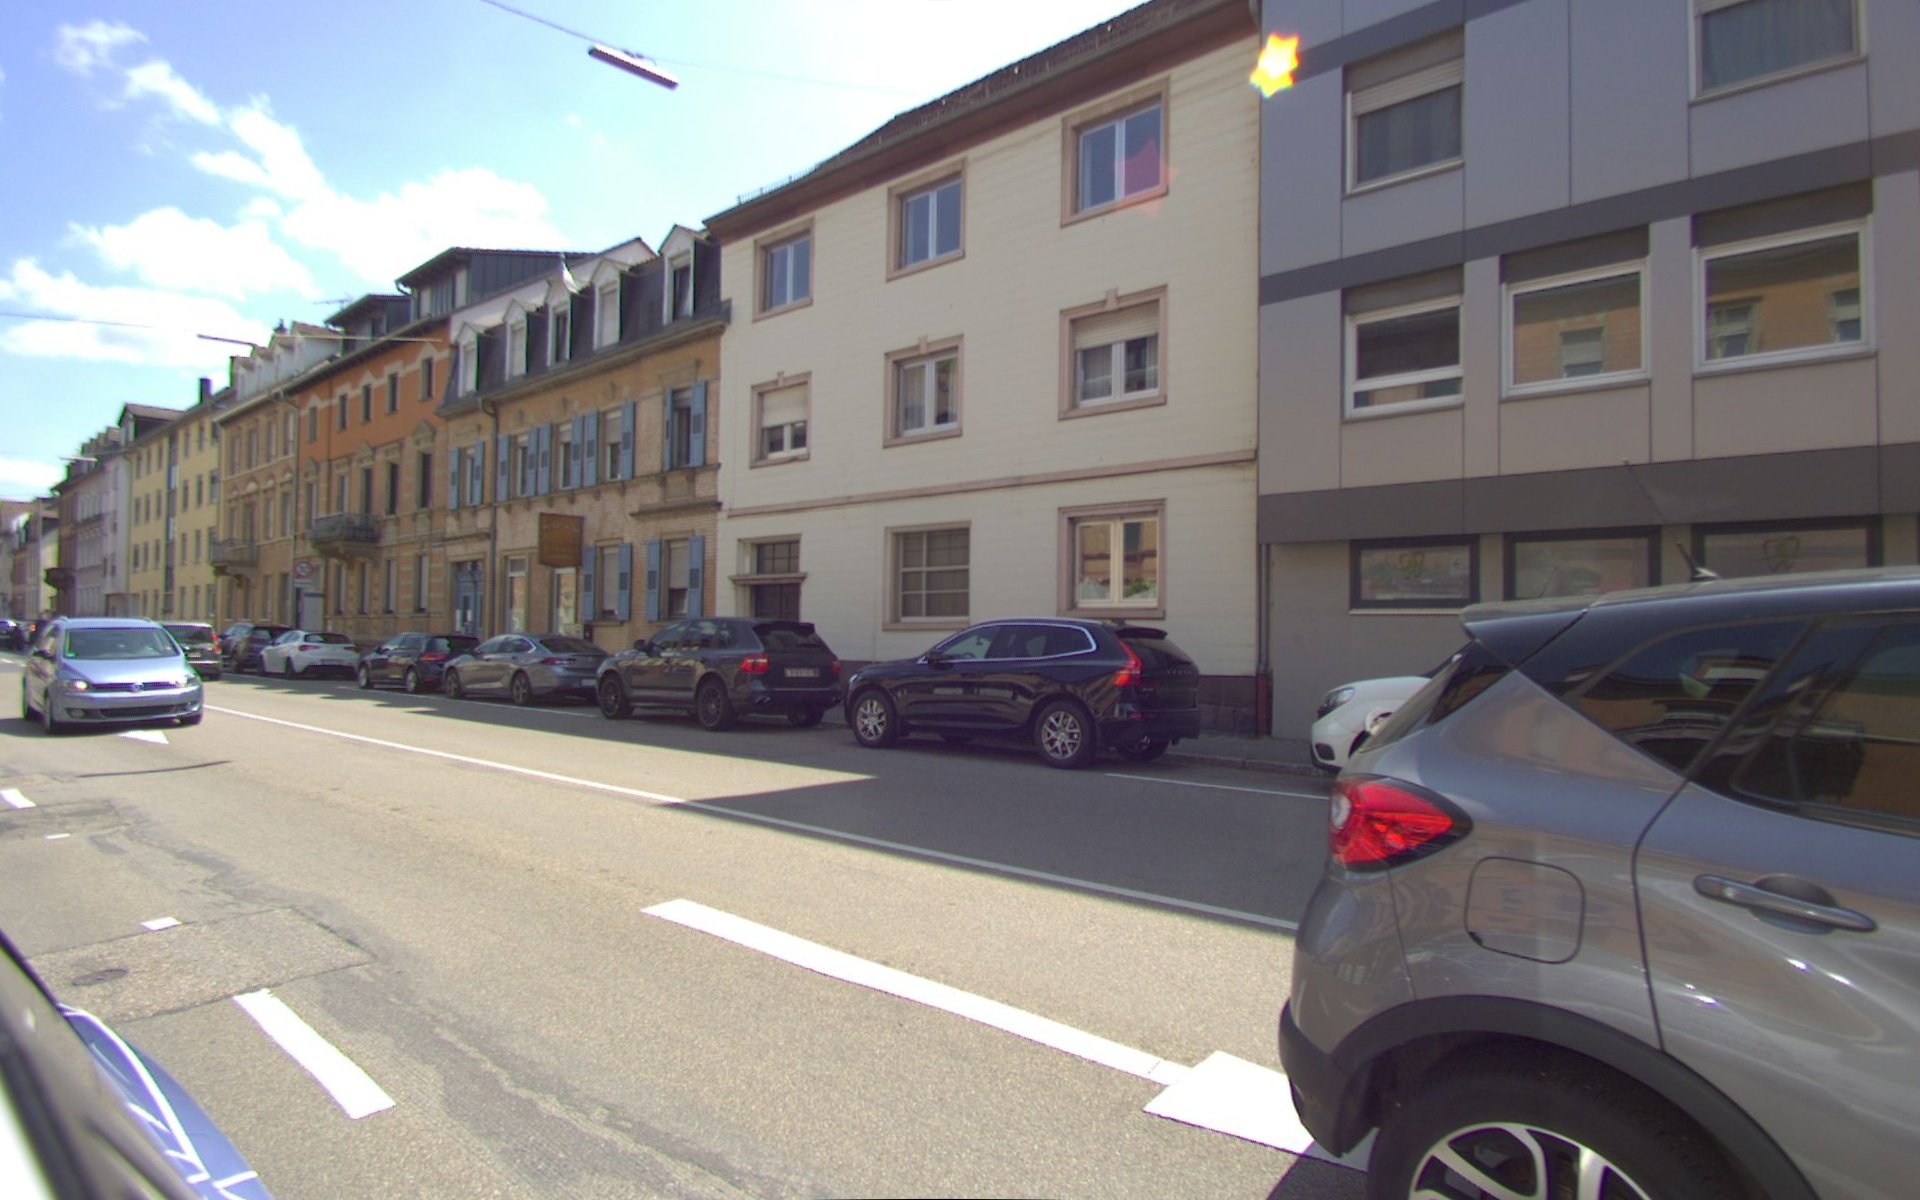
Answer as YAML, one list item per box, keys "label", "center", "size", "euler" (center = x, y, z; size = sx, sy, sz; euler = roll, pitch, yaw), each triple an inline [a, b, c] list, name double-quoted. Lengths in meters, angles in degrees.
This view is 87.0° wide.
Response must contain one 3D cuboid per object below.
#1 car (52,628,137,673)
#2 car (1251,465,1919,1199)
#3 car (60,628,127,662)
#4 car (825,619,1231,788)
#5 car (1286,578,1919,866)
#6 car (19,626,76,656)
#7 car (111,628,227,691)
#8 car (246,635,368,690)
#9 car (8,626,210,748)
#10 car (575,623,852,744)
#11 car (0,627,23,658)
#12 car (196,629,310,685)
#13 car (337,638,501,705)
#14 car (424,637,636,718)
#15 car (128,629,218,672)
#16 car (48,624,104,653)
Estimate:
- label: "car"
  center: [-30.601, 1.774, 35.761]
  size: [4.132, 1.489, 1.683]
  euler: [-2, -4, 42]
- label: "car"
  center: [2.676, 0.616, 1.421]
  size: [3.999, 1.644, 1.735]
  euler: [-2, -2, 42]
- label: "car"
  center: [-44.007, 2.290, 51.379]
  size: [4.311, 1.563, 1.845]
  euler: [-1, -6, 41]
- label: "car"
  center: [0.675, 1.095, 12.160]
  size: [4.659, 1.653, 1.866]
  euler: [-1, -4, 40]
- label: "car"
  center: [5.386, 0.857, 8.355]
  size: [4.784, 1.839, 1.894]
  euler: [-1, -4, 40]
- label: "car"
  center: [-52.735, 2.378, 58.531]
  size: [1.721, 1.600, 3.963]
  euler: [6, -6, -33]
- label: "car"
  center: [-21.528, 1.571, 27.492]
  size: [4.310, 1.587, 1.683]
  euler: [-2, -4, 42]
- label: "car"
  center: [-19.540, 1.855, 30.217]
  size: [4.328, 1.437, 1.845]
  euler: [-1, -6, 41]
- label: "car"
  center: [-12.821, 1.187, 15.171]
  size: [3.998, 1.580, 1.736]
  euler: [-2, -2, 42]
- label: "car"
  center: [-4.050, 1.229, 16.136]
  size: [4.816, 1.653, 1.865]
  euler: [-1, -4, 42]
- label: "car"
  center: [-48.827, 2.123, 51.029]
  size: [4.242, 1.506, 1.742]
  euler: [-2, -3, 40]
- label: "car"
  center: [-23.414, 1.858, 33.457]
  size: [4.496, 1.640, 1.846]
  euler: [-1, -6, 40]
- label: "car"
  center: [-13.185, 1.706, 24.581]
  size: [4.324, 1.417, 1.847]
  euler: [-1, -6, 38]
- label: "car"
  center: [-8.901, 1.560, 20.786]
  size: [4.831, 1.417, 1.847]
  euler: [-1, -6, 39]
- label: "car"
  center: [-32.060, 2.049, 41.190]
  size: [4.496, 1.563, 1.846]
  euler: [-1, -6, 40]
- label: "car"
  center: [-47.739, 2.091, 54.624]
  size: [3.914, 1.421, 1.726]
  euler: [-1, -6, 42]
